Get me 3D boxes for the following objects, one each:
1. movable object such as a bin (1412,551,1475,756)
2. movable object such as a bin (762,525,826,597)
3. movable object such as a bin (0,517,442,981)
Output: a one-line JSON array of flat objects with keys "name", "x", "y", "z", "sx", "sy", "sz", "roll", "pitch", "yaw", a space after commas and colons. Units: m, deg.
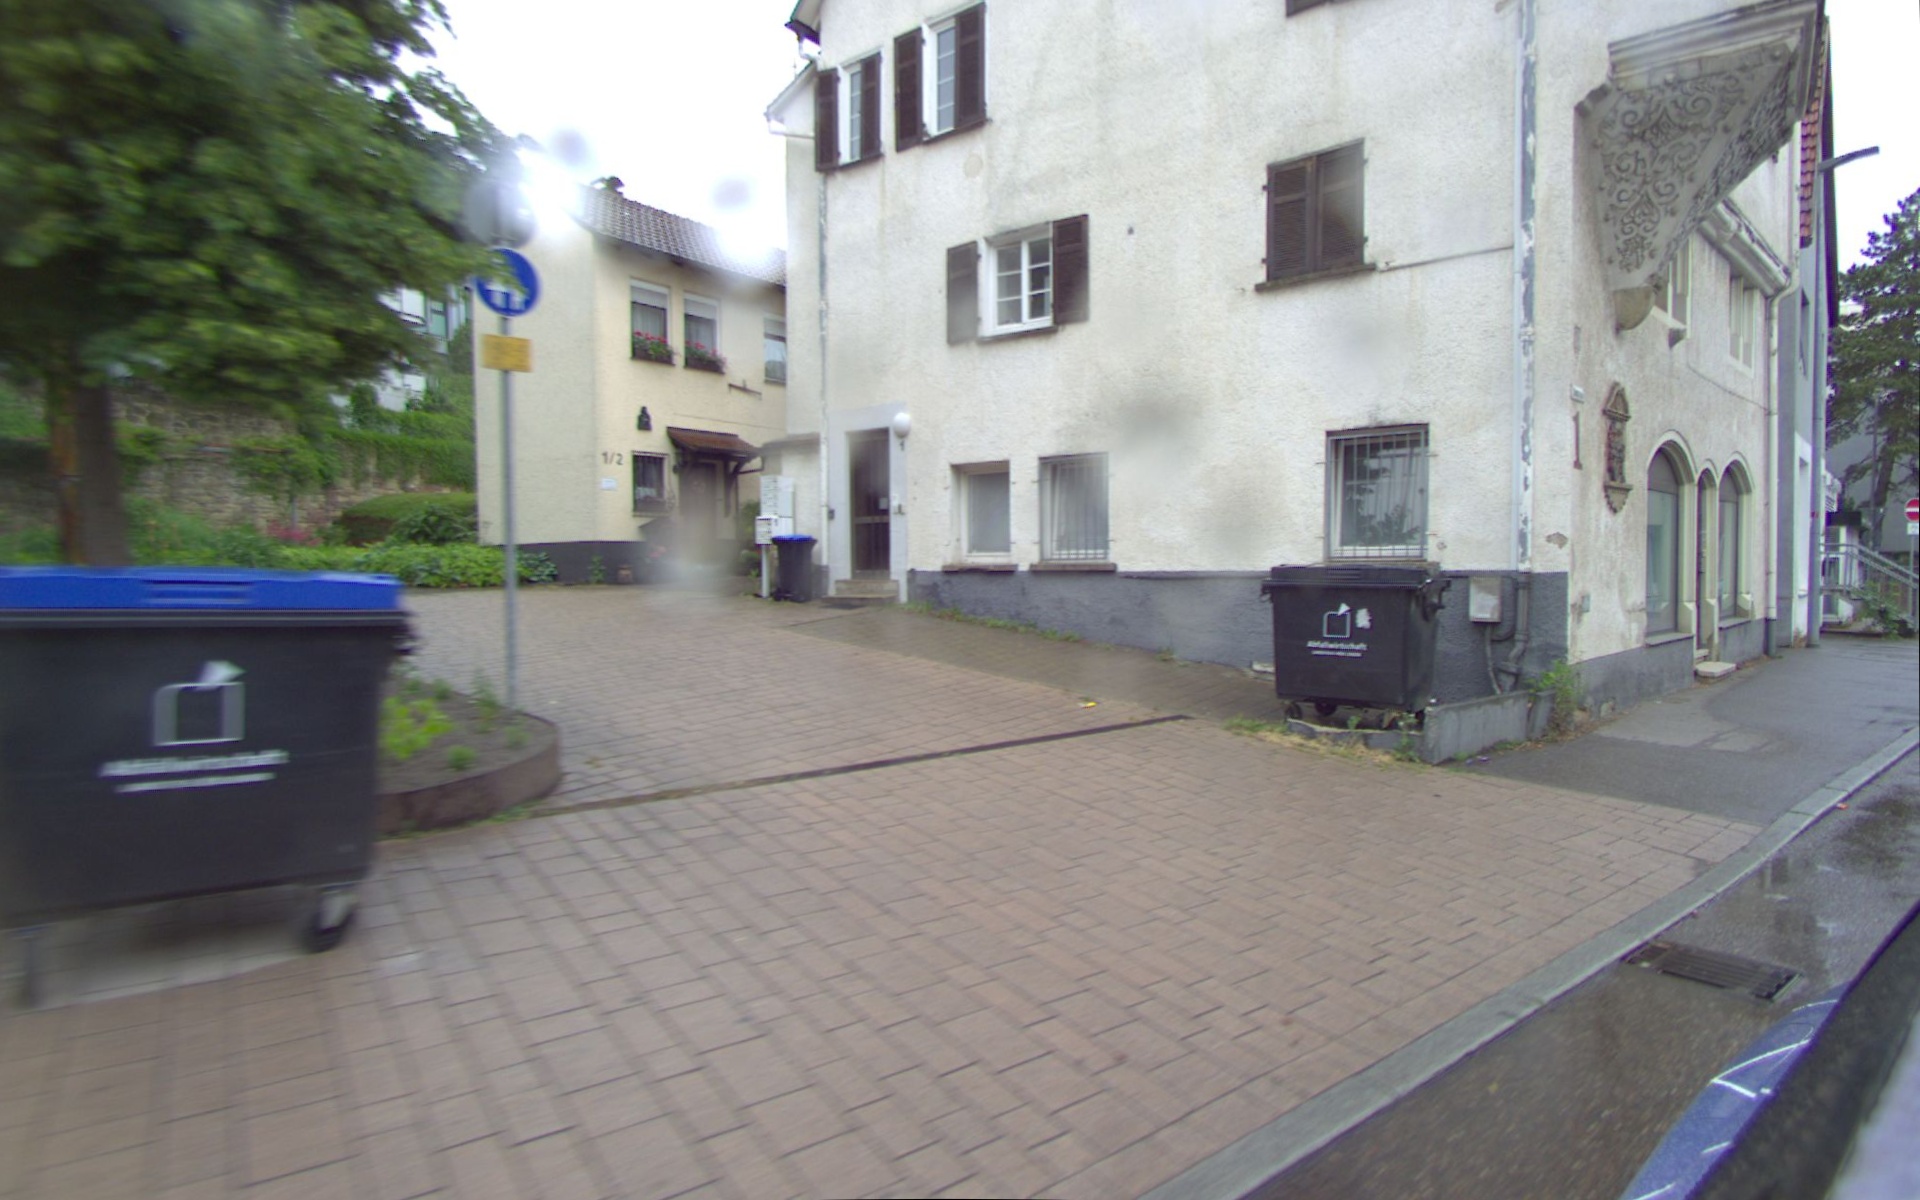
[{"name": "movable object such as a bin", "x": 3.652, "y": 0.374, "z": 7.642, "sx": 0.409, "sy": 1.459, "sz": 0.639, "roll": 1, "pitch": 4, "yaw": 27}, {"name": "movable object such as a bin", "x": -2.328, "y": -0.558, "z": 14.237, "sx": 0.656, "sy": 0.932, "sz": 0.585, "roll": 5, "pitch": 9, "yaw": 42}, {"name": "movable object such as a bin", "x": -2.632, "y": 0.399, "z": 3.693, "sx": 1.164, "sy": 1.329, "sz": 1.158, "roll": -1, "pitch": 2, "yaw": -36}]
